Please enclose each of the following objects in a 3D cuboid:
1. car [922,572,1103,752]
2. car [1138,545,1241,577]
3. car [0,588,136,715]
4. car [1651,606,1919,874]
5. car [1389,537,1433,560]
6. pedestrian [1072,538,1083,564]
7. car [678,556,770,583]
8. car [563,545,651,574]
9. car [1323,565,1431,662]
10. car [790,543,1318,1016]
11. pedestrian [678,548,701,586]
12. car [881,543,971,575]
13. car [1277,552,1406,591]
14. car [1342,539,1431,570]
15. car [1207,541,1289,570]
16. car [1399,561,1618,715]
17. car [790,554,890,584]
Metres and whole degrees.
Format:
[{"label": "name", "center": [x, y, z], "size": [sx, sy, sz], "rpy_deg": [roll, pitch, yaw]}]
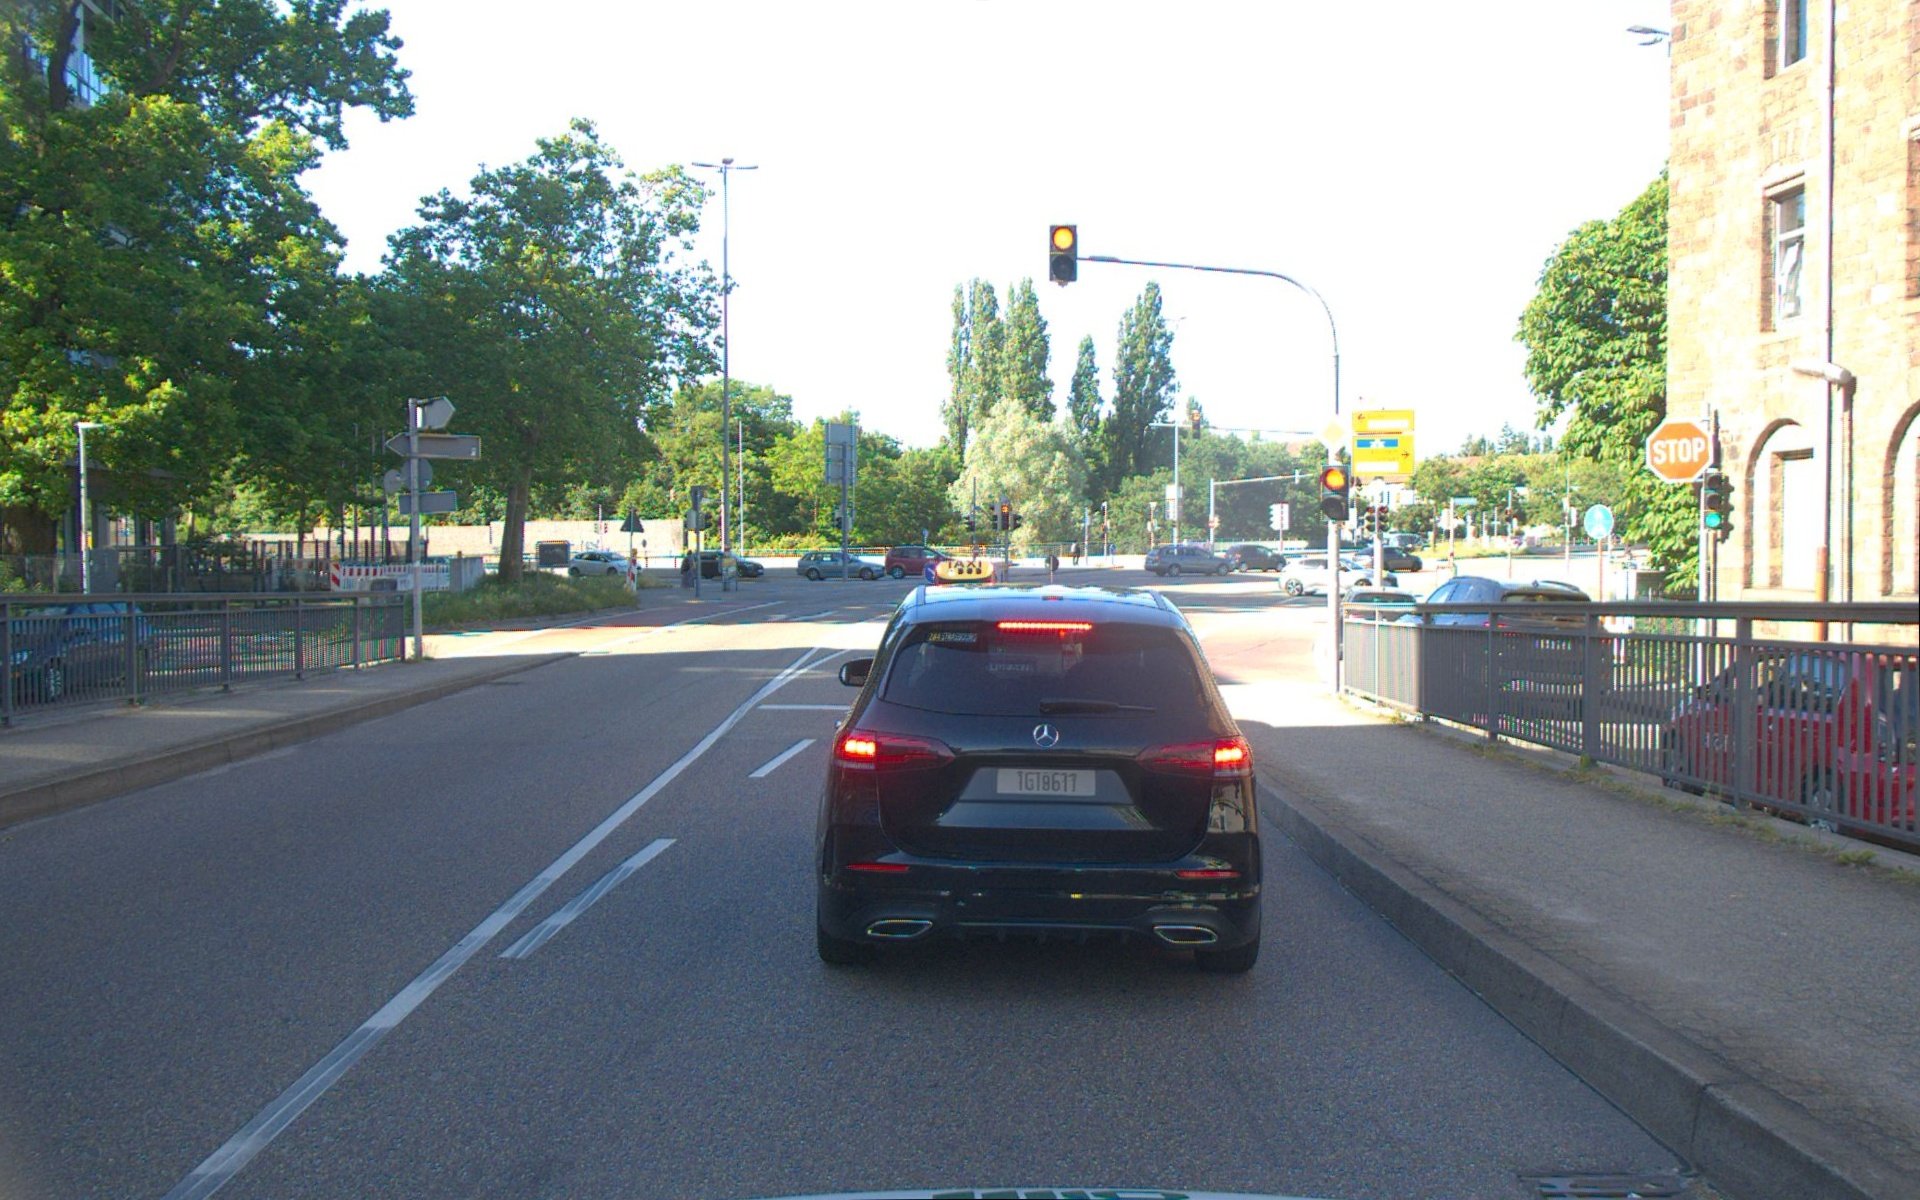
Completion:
[{"label": "car", "center": [0.520, 0.537, 16.721], "size": [1.606, 1.556, 3.475], "rpy_deg": [-1, 2, 1]}, {"label": "car", "center": [11.531, -1.978, 83.055], "size": [4.733, 1.466, 1.990], "rpy_deg": [-2, 3, -18]}, {"label": "car", "center": [-14.760, 0.728, 25.796], "size": [1.814, 1.722, 4.000], "rpy_deg": [0, 2, -1]}, {"label": "car", "center": [6.854, 0.922, 12.581], "size": [1.686, 1.548, 3.486], "rpy_deg": [0, 3, -1]}, {"label": "car", "center": [32.854, -3.749, 120.368], "size": [1.846, 1.605, 3.987], "rpy_deg": [1, 2, 35]}, {"label": "pedestrian", "center": [7.368, -3.082, 103.580], "size": [0.443, 1.613, 0.499], "rpy_deg": [0, 2, 40]}, {"label": "car", "center": [-12.415, -1.601, 86.878], "size": [4.489, 1.317, 1.886], "rpy_deg": [0, 3, 25]}, {"label": "car", "center": [-18.214, -2.099, 85.318], "size": [4.221, 1.389, 1.996], "rpy_deg": [0, 3, 31]}, {"label": "car", "center": [8.237, 0.209, 32.954], "size": [1.685, 1.631, 4.302], "rpy_deg": [1, 3, 9]}, {"label": "car", "center": [0.306, 0.609, 7.831], "size": [1.839, 1.641, 4.000], "rpy_deg": [1, 1, -1]}, {"label": "pedestrian", "center": [-11.101, -1.368, 67.838], "size": [0.690, 1.552, 0.744], "rpy_deg": [1, 1, 10]}, {"label": "car", "center": [-1.728, -2.105, 84.965], "size": [4.442, 1.481, 2.001], "rpy_deg": [-1, 3, 2]}, {"label": "car", "center": [13.880, -1.034, 60.219], "size": [4.148, 1.317, 1.992], "rpy_deg": [1, 3, 37]}, {"label": "car", "center": [22.561, -2.431, 87.551], "size": [4.215, 1.466, 1.990], "rpy_deg": [-2, 3, -19]}, {"label": "car", "center": [15.470, -2.405, 88.884], "size": [4.005, 1.381, 1.777], "rpy_deg": [-2, 3, -20]}, {"label": "car", "center": [7.530, 0.430, 23.148], "size": [1.686, 1.843, 4.299], "rpy_deg": [1, 3, 1]}, {"label": "car", "center": [-5.844, -1.499, 80.647], "size": [4.481, 1.317, 2.002], "rpy_deg": [-1, 3, 9]}]
